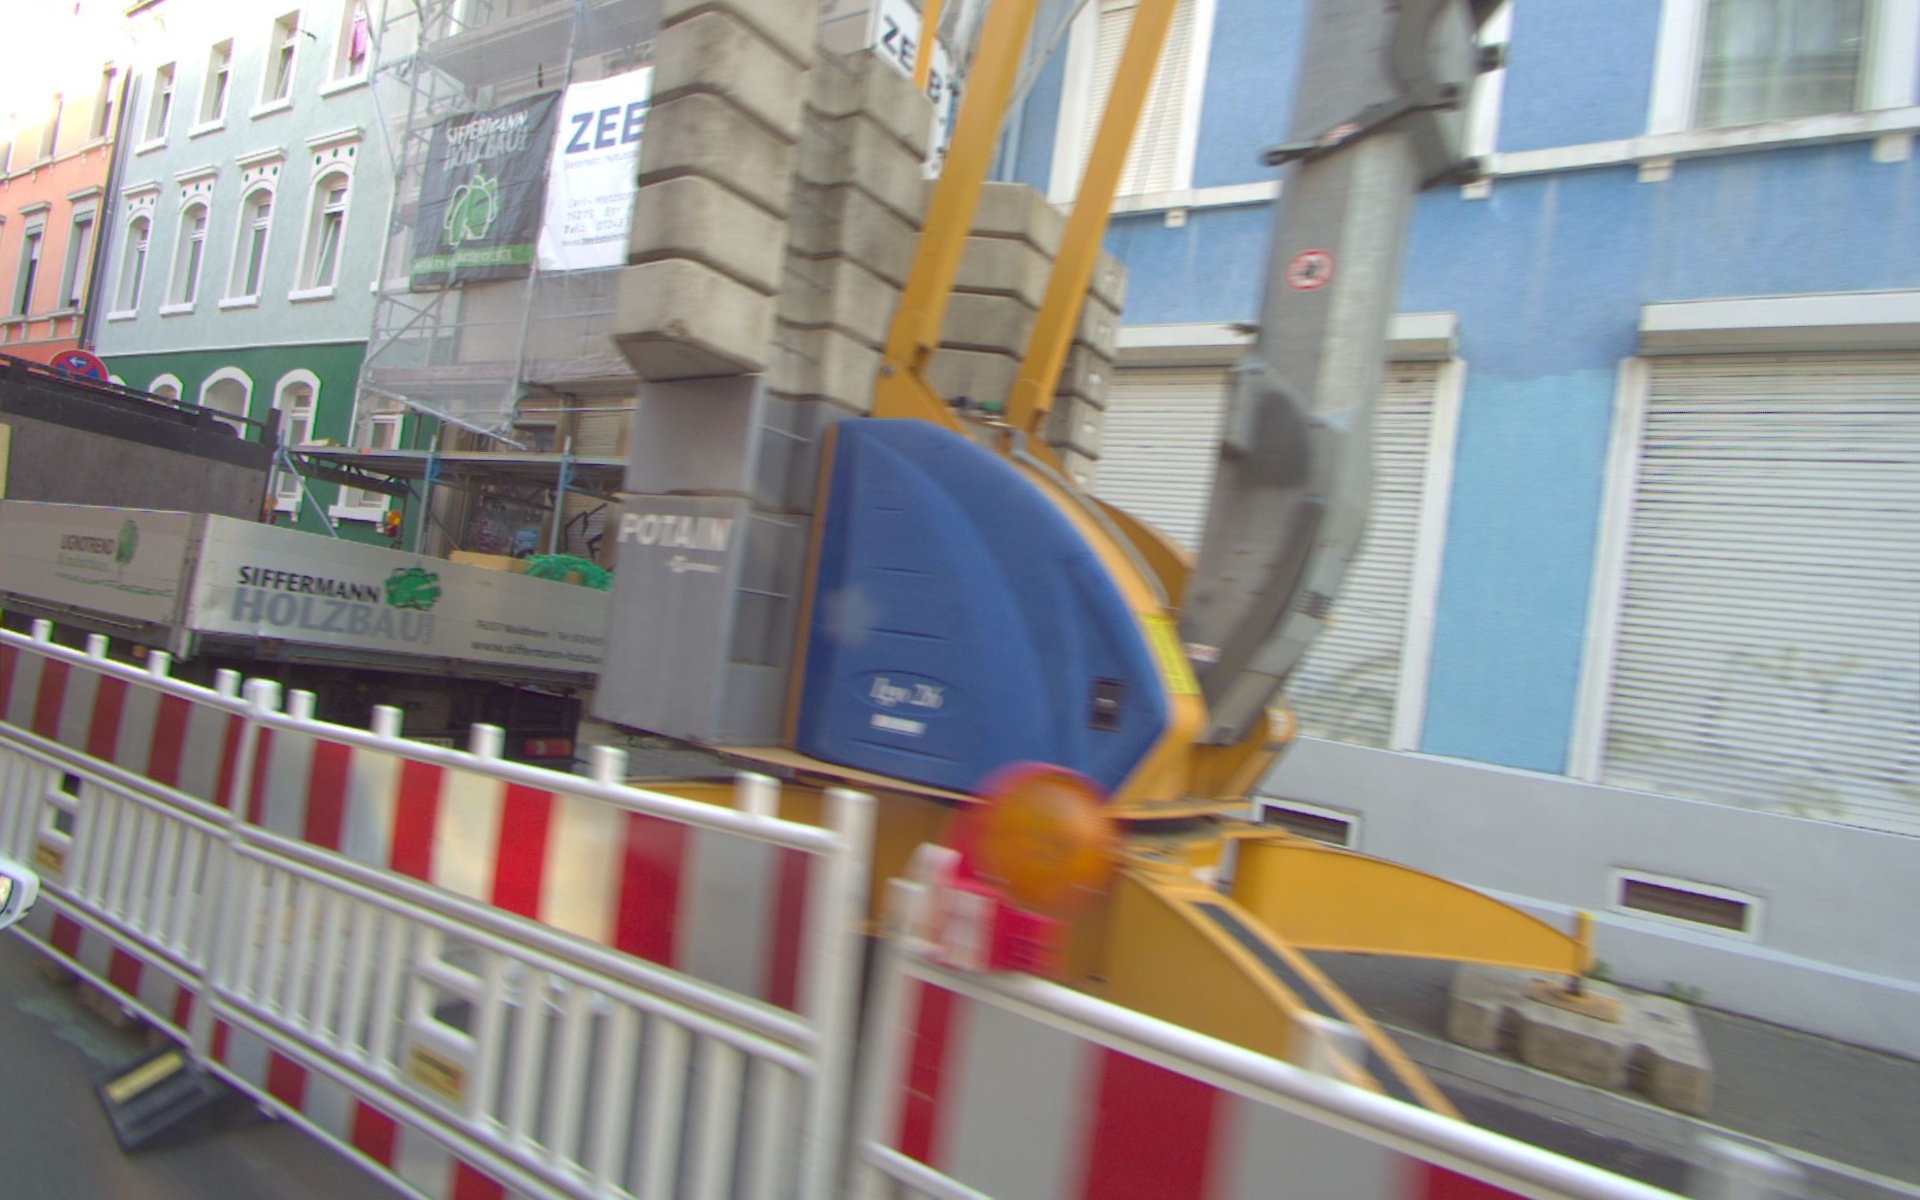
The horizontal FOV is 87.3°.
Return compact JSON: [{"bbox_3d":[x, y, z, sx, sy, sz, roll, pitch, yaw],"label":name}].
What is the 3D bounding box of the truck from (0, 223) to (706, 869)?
[{"bbox_3d":[-5.635,-0.399,7.435,7.271,2.843,2.669,6,-4,32],"label":"truck"}]
